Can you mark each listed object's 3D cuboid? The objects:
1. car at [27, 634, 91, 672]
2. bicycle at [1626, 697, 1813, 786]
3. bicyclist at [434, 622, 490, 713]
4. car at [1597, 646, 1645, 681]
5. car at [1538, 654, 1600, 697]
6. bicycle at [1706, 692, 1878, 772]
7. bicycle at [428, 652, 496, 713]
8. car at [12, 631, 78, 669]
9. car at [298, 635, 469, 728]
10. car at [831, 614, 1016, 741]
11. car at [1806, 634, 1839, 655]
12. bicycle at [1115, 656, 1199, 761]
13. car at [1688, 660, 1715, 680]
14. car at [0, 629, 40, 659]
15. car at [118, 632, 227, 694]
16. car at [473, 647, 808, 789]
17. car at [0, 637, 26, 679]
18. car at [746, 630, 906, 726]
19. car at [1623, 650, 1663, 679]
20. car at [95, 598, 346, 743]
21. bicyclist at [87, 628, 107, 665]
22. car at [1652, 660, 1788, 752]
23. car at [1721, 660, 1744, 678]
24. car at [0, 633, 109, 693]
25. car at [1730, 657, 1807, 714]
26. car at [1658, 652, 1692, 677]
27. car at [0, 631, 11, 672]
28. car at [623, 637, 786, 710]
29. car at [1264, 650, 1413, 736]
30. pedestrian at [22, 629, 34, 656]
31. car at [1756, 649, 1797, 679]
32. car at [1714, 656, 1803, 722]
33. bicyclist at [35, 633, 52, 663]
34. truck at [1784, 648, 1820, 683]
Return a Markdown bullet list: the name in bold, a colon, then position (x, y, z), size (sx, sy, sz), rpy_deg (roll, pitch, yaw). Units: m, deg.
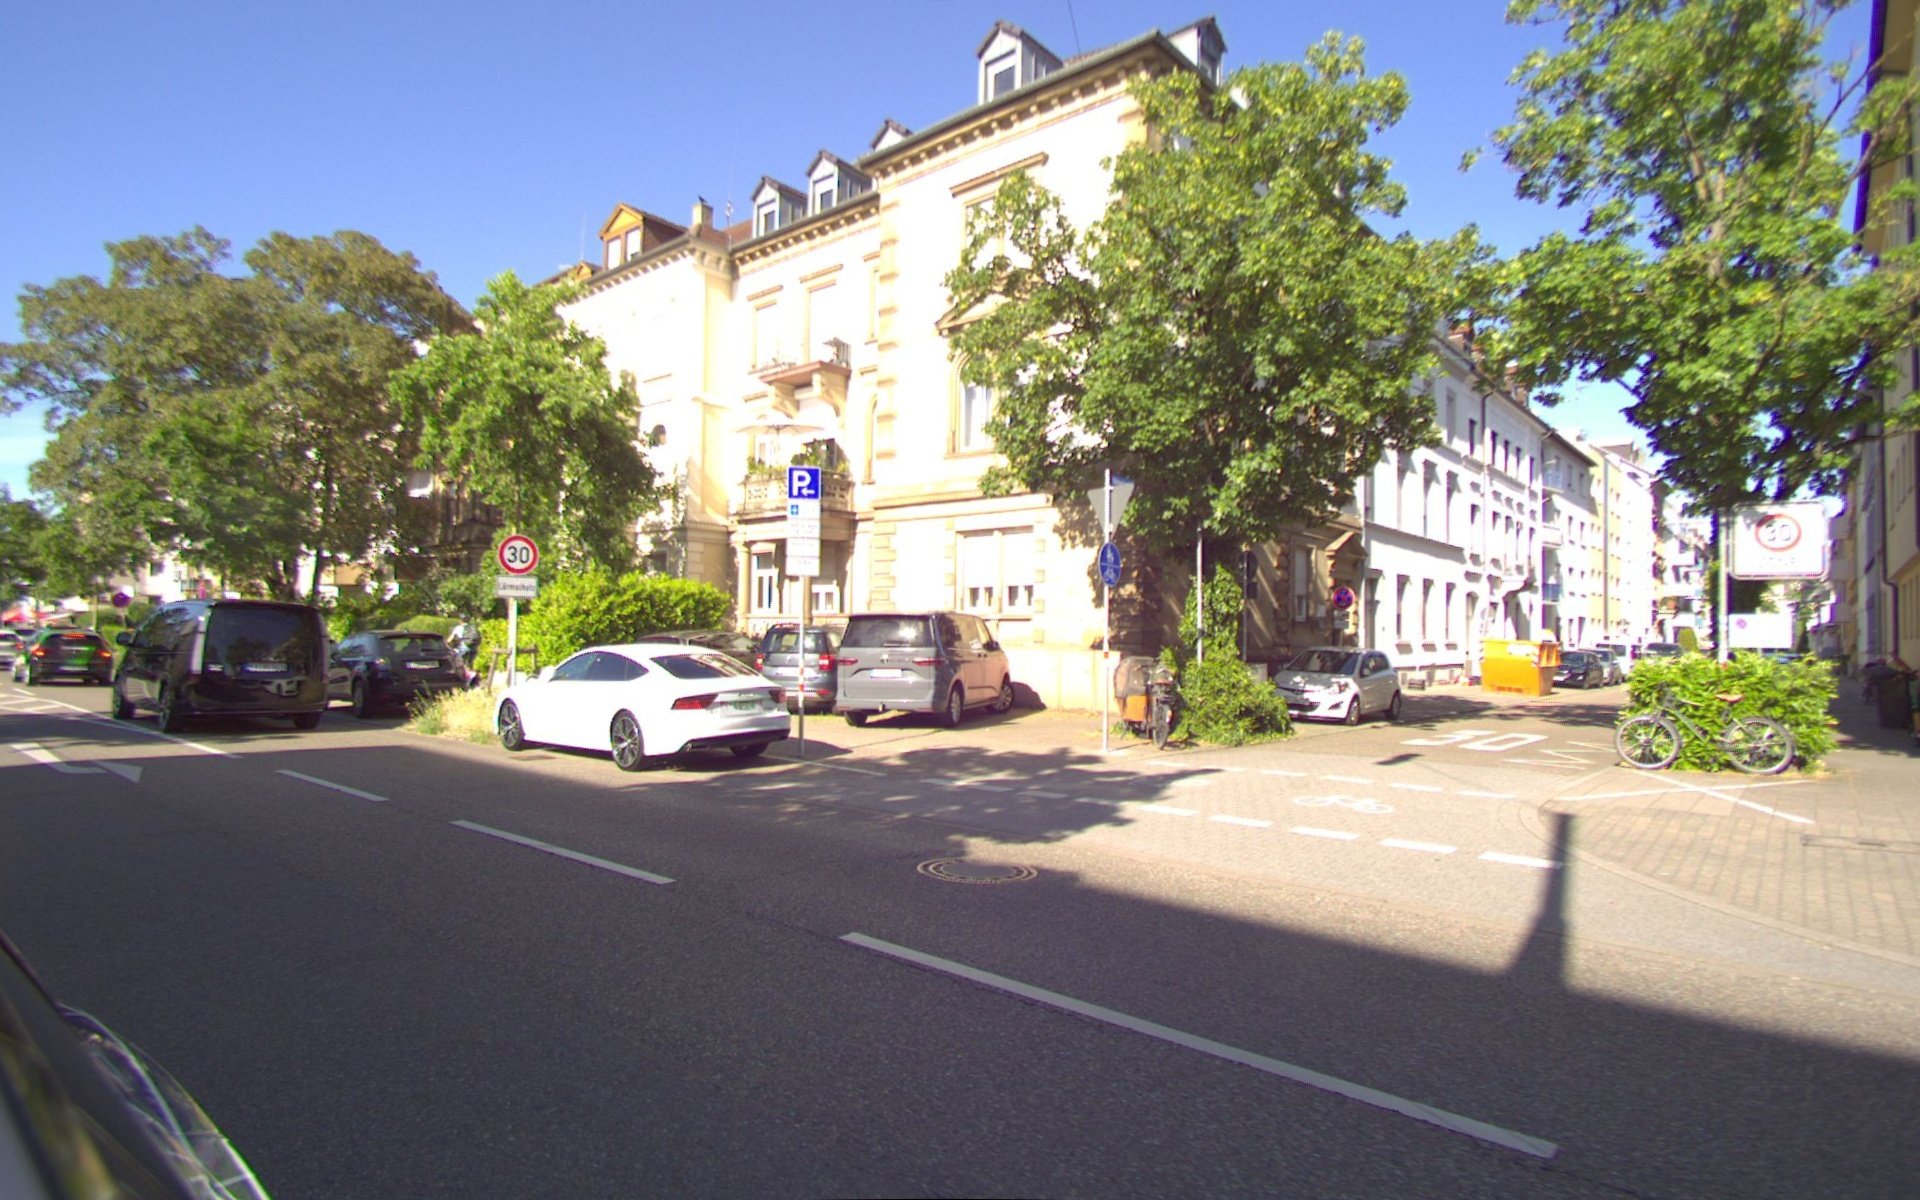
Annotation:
- **car**: position (-36.886, 2.122, 41.417), size (3.931, 1.488, 1.584), rpy_deg (-2, -3, 43)
- **bicycle**: position (9.271, 1.696, 12.415), size (0.398, 0.967, 1.760), rpy_deg (4, -5, -43)
- **bicyclist**: position (-10.434, 1.399, 21.205), size (1.054, 1.838, 0.651), rpy_deg (-2, -4, 41)
- **car**: position (32.158, 3.069, 49.198), size (1.480, 1.557, 3.743), rpy_deg (1, -2, 41)
- **car**: position (24.171, 2.972, 40.115), size (1.480, 1.557, 3.743), rpy_deg (1, -2, 41)
- **bicycle**: position (11.455, 1.793, 13.990), size (0.398, 0.988, 1.760), rpy_deg (4, -5, -43)
- **bicycle**: position (-10.477, 1.704, 21.252), size (2.191, 1.202, 0.443), rpy_deg (-2, -4, 41)
- **car**: position (-40.275, 2.169, 44.526), size (4.392, 1.617, 1.652), rpy_deg (-2, -2, 42)
- **car**: position (-10.971, 1.454, 19.153), size (4.007, 1.567, 1.660), rpy_deg (-2, -3, 42)
- **car**: position (-0.476, 1.241, 17.434), size (1.864, 1.893, 4.303), rpy_deg (-1, -2, 18)
- **car**: position (54.296, 2.825, 63.713), size (1.492, 1.275, 3.612), rpy_deg (-3, -5, 40)
- **bicycle**: position (2.861, 1.531, 15.064), size (0.941, 1.272, 3.168), rpy_deg (2, -2, 7)
- **car**: position (59.900, 5.635, 81.701), size (1.480, 1.557, 3.743), rpy_deg (1, -2, 41)
- **car**: position (-49.466, 2.291, 53.110), size (3.684, 1.501, 1.386), rpy_deg (-2, -3, 42)
- **car**: position (-22.545, 1.745, 28.927), size (4.345, 1.600, 1.608), rpy_deg (-2, -2, 40)
- **car**: position (-4.190, 1.335, 12.821), size (4.799, 1.400, 1.814), rpy_deg (-2, -2, 41)
- **car**: position (-34.787, 2.021, 36.038), size (4.190, 1.423, 1.715), rpy_deg (-2, -6, 41)
- **car**: position (-2.485, 1.433, 19.731), size (1.666, 1.657, 3.899), rpy_deg (-1, -2, 17)
- **car**: position (39.739, 3.761, 58.862), size (1.480, 1.557, 3.743), rpy_deg (1, -2, 41)
- **car**: position (-11.954, 1.086, 16.215), size (5.174, 1.967, 1.995), rpy_deg (-2, -5, 40)
- **bicyclist**: position (-42.187, 2.282, 49.464), size (1.207, 1.780, 0.576), rpy_deg (-2, -1, 40)
- **car**: position (13.683, 1.814, 18.143), size (1.646, 1.453, 3.945), rpy_deg (-3, -5, 40)
- **car**: position (72.243, 6.456, 94.611), size (1.480, 1.557, 3.743), rpy_deg (1, -2, 41)
- **car**: position (-24.559, 1.682, 27.317), size (4.170, 1.465, 1.674), rpy_deg (-2, -6, 40)
- **car**: position (22.532, 2.338, 28.151), size (1.492, 1.453, 3.612), rpy_deg (-3, -5, 40)
- **car**: position (46.932, 4.230, 66.369), size (1.480, 1.557, 3.743), rpy_deg (1, -2, 41)
- **car**: position (-40.329, 2.049, 41.250), size (4.398, 1.626, 1.817), rpy_deg (-2, -6, 41)
- **car**: position (-5.763, 1.616, 23.271), size (1.622, 1.500, 3.889), rpy_deg (-1, -2, 23)
- **car**: position (7.767, 1.825, 20.586), size (1.646, 1.499, 3.743), rpy_deg (1, -2, 41)
- **pedestrian**: position (-57.781, 2.629, 62.734), size (0.719, 1.663, 0.464), rpy_deg (-2, -3, 42)
- **car**: position (42.001, 3.291, 52.042), size (1.492, 1.437, 3.612), rpy_deg (-3, -5, 40)
- **car**: position (19.314, 2.104, 24.441), size (1.492, 1.453, 3.612), rpy_deg (-3, -5, 40)
- **bicyclist**: position (-53.838, 2.816, 59.452), size (0.691, 1.768, 0.602), rpy_deg (-2, -4, 41)
- **truck**: position (61.356, 4.757, 73.749), size (1.872, 2.438, 3.612), rpy_deg (-3, -5, 41)
